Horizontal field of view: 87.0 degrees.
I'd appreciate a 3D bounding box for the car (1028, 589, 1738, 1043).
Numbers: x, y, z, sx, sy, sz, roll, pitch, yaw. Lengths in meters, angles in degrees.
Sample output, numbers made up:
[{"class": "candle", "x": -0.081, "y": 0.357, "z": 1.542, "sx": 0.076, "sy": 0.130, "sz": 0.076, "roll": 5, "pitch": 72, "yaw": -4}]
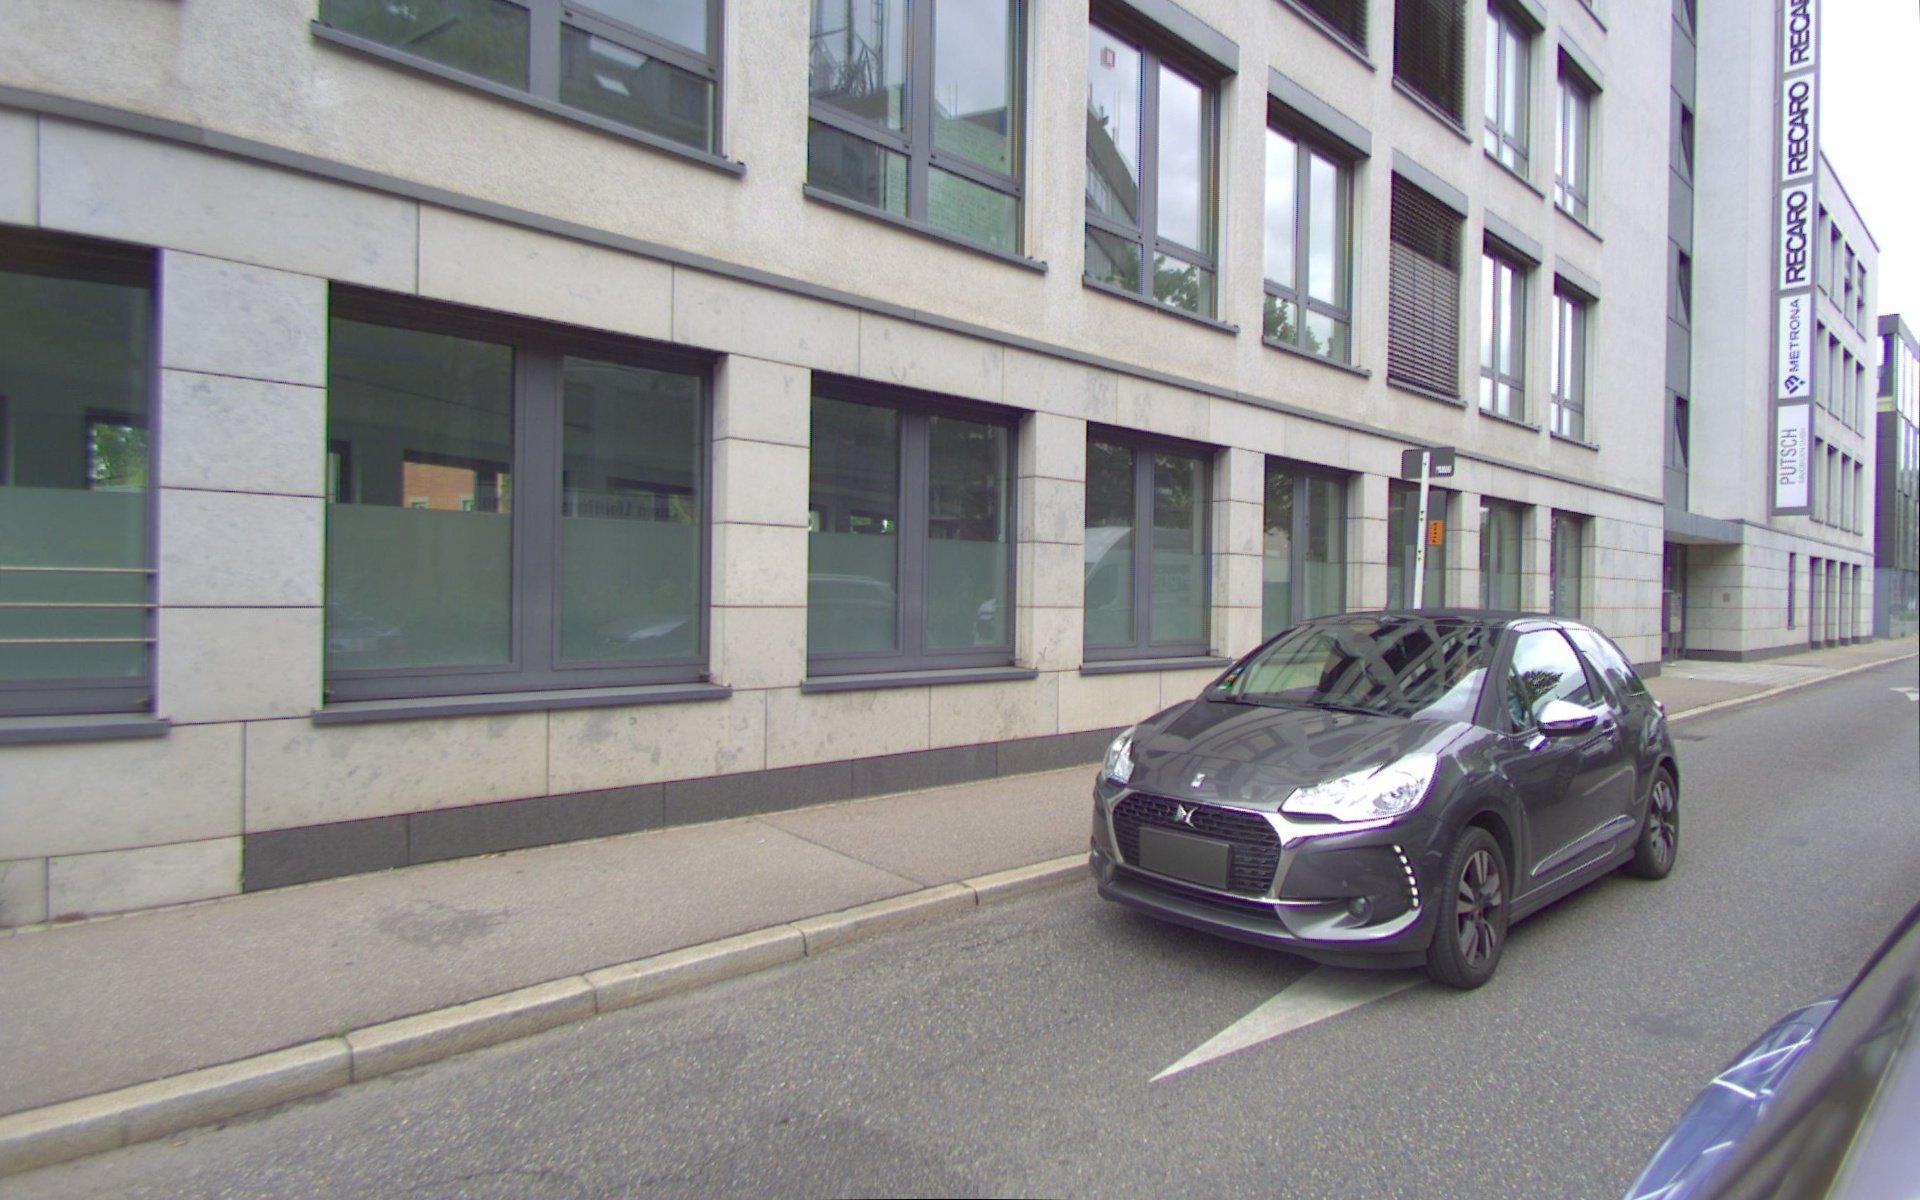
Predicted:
[{"class": "car", "x": 2.392, "y": 0.714, "z": 5.241, "sx": 3.989, "sy": 1.479, "sz": 1.704, "roll": 0, "pitch": -1, "yaw": -39}]
